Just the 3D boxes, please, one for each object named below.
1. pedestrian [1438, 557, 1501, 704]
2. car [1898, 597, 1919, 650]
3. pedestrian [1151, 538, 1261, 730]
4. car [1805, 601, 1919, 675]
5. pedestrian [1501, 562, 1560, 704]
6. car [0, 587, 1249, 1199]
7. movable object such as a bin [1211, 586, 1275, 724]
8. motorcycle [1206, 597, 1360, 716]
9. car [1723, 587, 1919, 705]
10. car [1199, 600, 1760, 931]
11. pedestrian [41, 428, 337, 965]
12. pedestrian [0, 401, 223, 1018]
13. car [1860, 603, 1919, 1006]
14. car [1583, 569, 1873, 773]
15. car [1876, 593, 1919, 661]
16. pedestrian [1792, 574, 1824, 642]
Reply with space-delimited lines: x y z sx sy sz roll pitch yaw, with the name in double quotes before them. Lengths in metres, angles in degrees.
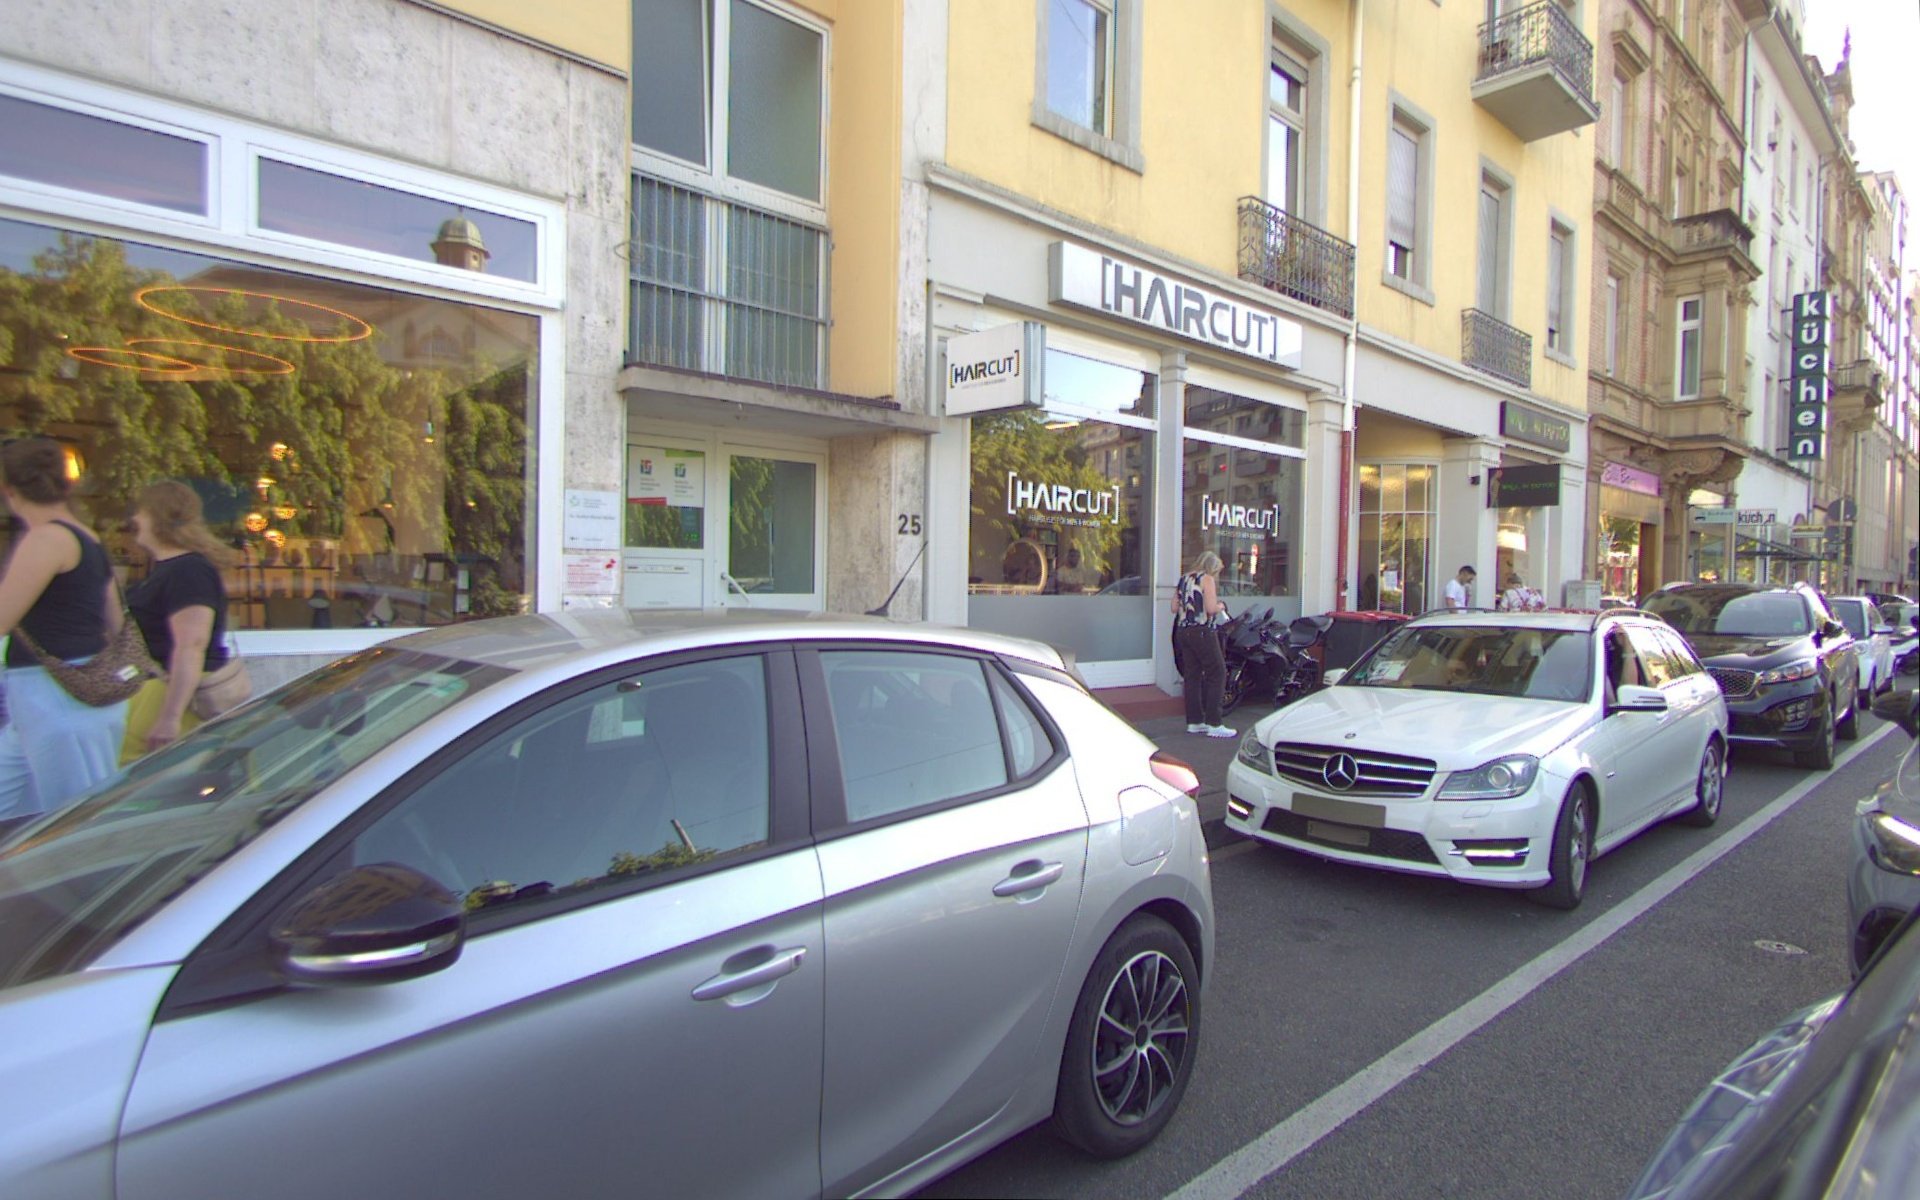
"pedestrian" 7.080 0.411 14.062 0.679 2.008 0.375 1 1 -18
"car" 26.511 0.602 27.057 3.773 1.357 1.800 -1 1 -42
"pedestrian" 2.256 0.278 9.300 0.595 1.674 0.719 0 3 -40
"car" 18.094 0.676 19.871 4.016 1.282 1.800 -1 1 -42
"pedestrian" 7.719 0.433 13.722 0.567 1.874 0.661 0 0 19
"car" -1.006 0.696 2.288 3.597 1.445 1.549 -1 1 -42
"movable object such as a bin" 2.676 0.504 9.577 0.387 1.253 0.391 0 3 -41
"motorcycle" 3.389 0.540 10.524 1.920 1.091 0.567 -1 4 -41
"car" 13.128 0.579 15.330 4.016 1.546 1.800 -1 1 -42
"car" 3.516 0.717 6.438 4.302 1.376 1.703 -1 1 -41
"pedestrian" -2.867 0.317 3.790 0.733 1.806 0.565 1 0 18
"pedestrian" -2.760 0.295 3.069 0.634 1.686 0.660 0 0 -13
"car" 5.297 0.705 4.236 3.930 1.376 1.801 -1 1 -41
"car" 7.970 0.550 10.351 4.176 1.659 1.799 -1 1 -45
"car" 22.236 0.571 23.051 4.016 1.450 1.657 -1 1 -42
"pedestrian" 23.662 0.211 28.232 0.653 1.874 0.574 0 0 -40
